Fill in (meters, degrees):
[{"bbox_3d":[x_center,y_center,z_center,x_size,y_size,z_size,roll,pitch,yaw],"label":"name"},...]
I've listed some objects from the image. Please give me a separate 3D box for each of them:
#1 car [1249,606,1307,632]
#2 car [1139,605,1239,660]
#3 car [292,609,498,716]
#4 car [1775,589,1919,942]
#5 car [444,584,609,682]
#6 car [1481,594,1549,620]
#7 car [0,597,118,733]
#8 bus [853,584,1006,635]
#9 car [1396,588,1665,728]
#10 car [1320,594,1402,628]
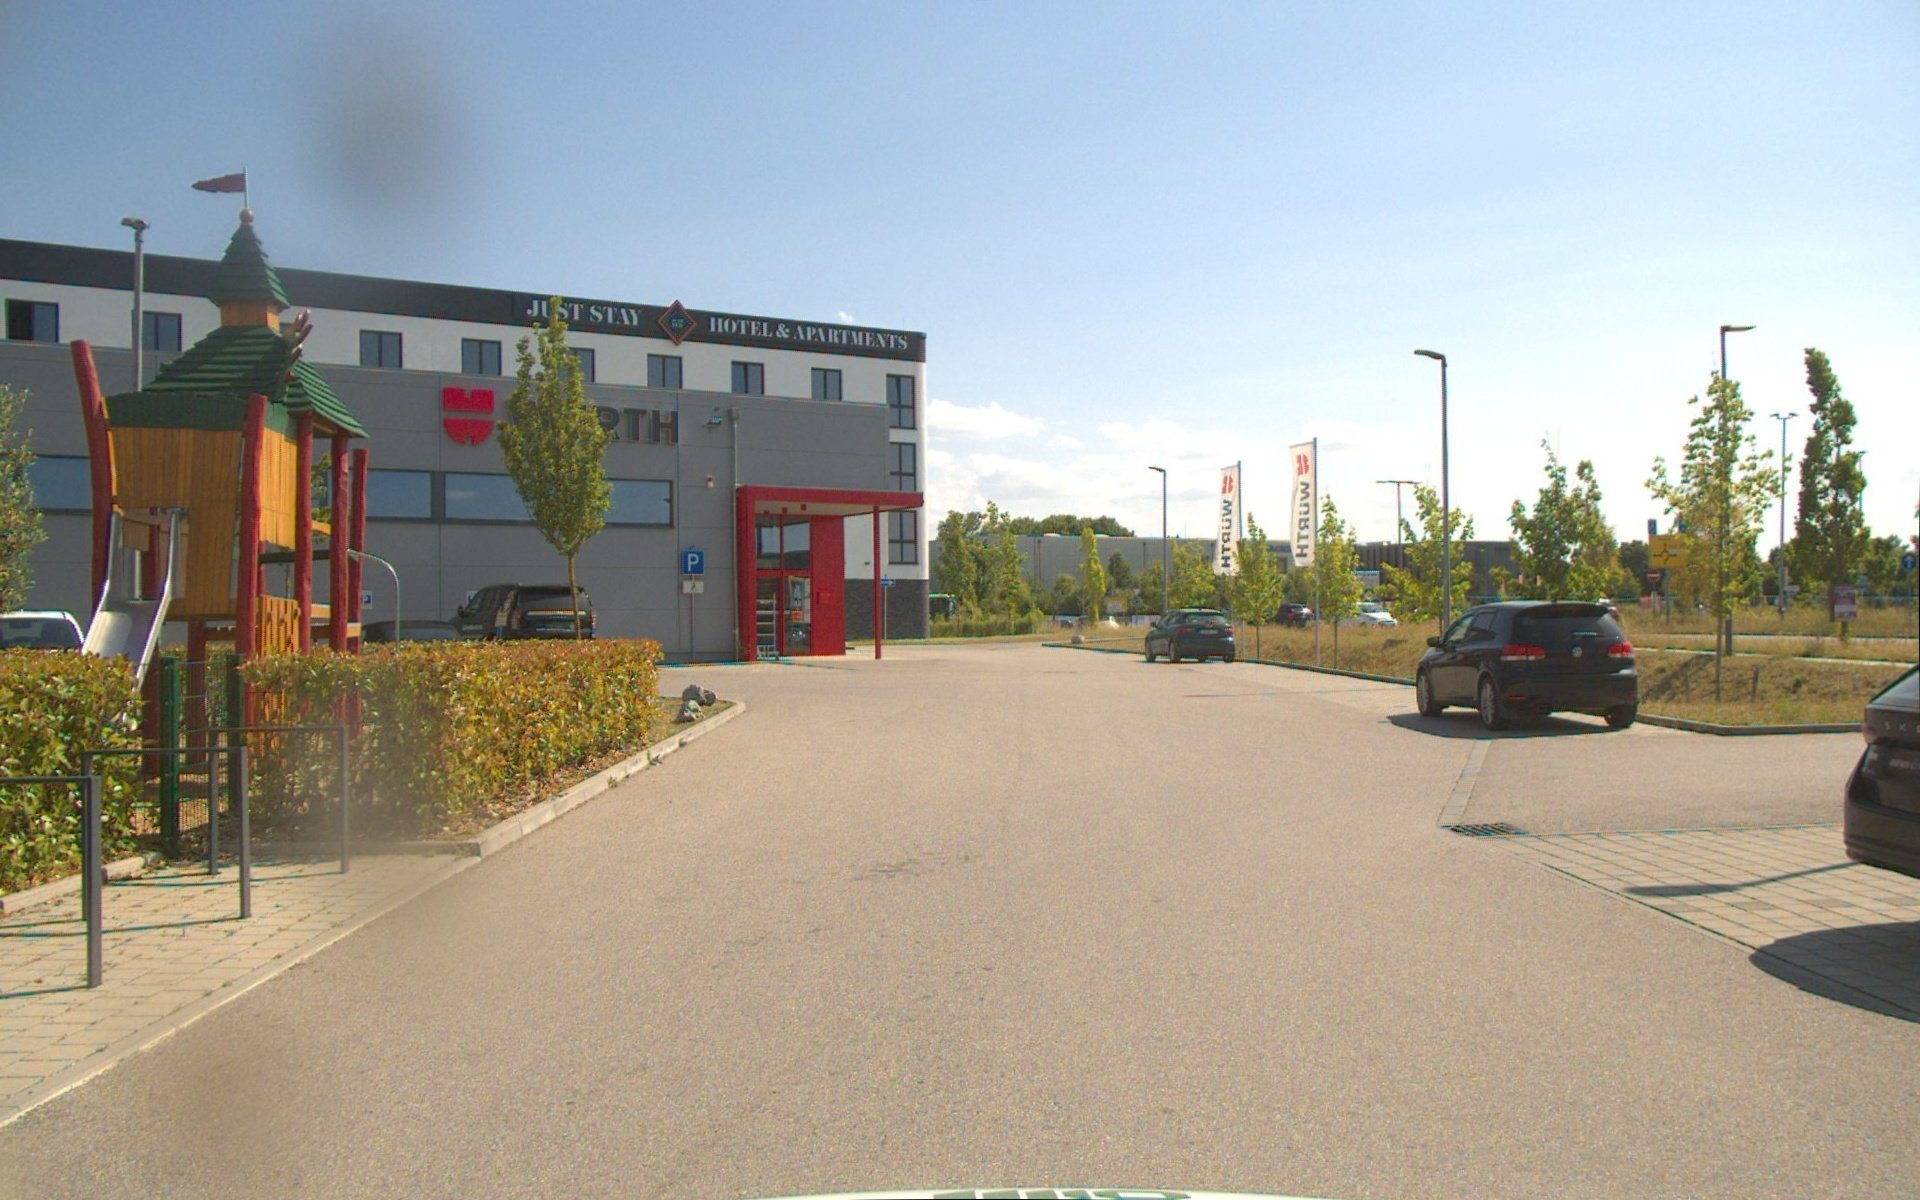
[{"bbox_3d":[18.065,1.061,94.038,1.625,1.410,3.487,-1,0,-23],"label":"car"},{"bbox_3d":[6.192,0.848,45.158,1.667,1.431,3.888,0,0,-9],"label":"car"},{"bbox_3d":[-8.427,0.850,24.429,1.846,1.386,4.325,-1,0,-34],"label":"car"},{"bbox_3d":[6.283,0.680,7.444,4.354,1.513,1.875,-1,0,-5],"label":"car"},{"bbox_3d":[-9.281,0.641,35.128,2.051,1.913,4.824,-1,0,-32],"label":"car"},{"bbox_3d":[31.912,0.418,95.076,3.660,1.420,1.576,-1,0,-27],"label":"car"},{"bbox_3d":[-11.862,0.749,21.017,1.926,1.557,4.334,-1,0,-29],"label":"car"},{"bbox_3d":[-2.277,0.705,122.451,10.974,3.619,2.577,-1,0,12],"label":"bus"},{"bbox_3d":[7.009,0.660,20.798,1.799,1.503,4.118,-2,0,-2],"label":"car"},{"bbox_3d":[18.605,0.486,76.901,1.846,1.509,3.975,-1,0,-21],"label":"car"}]
